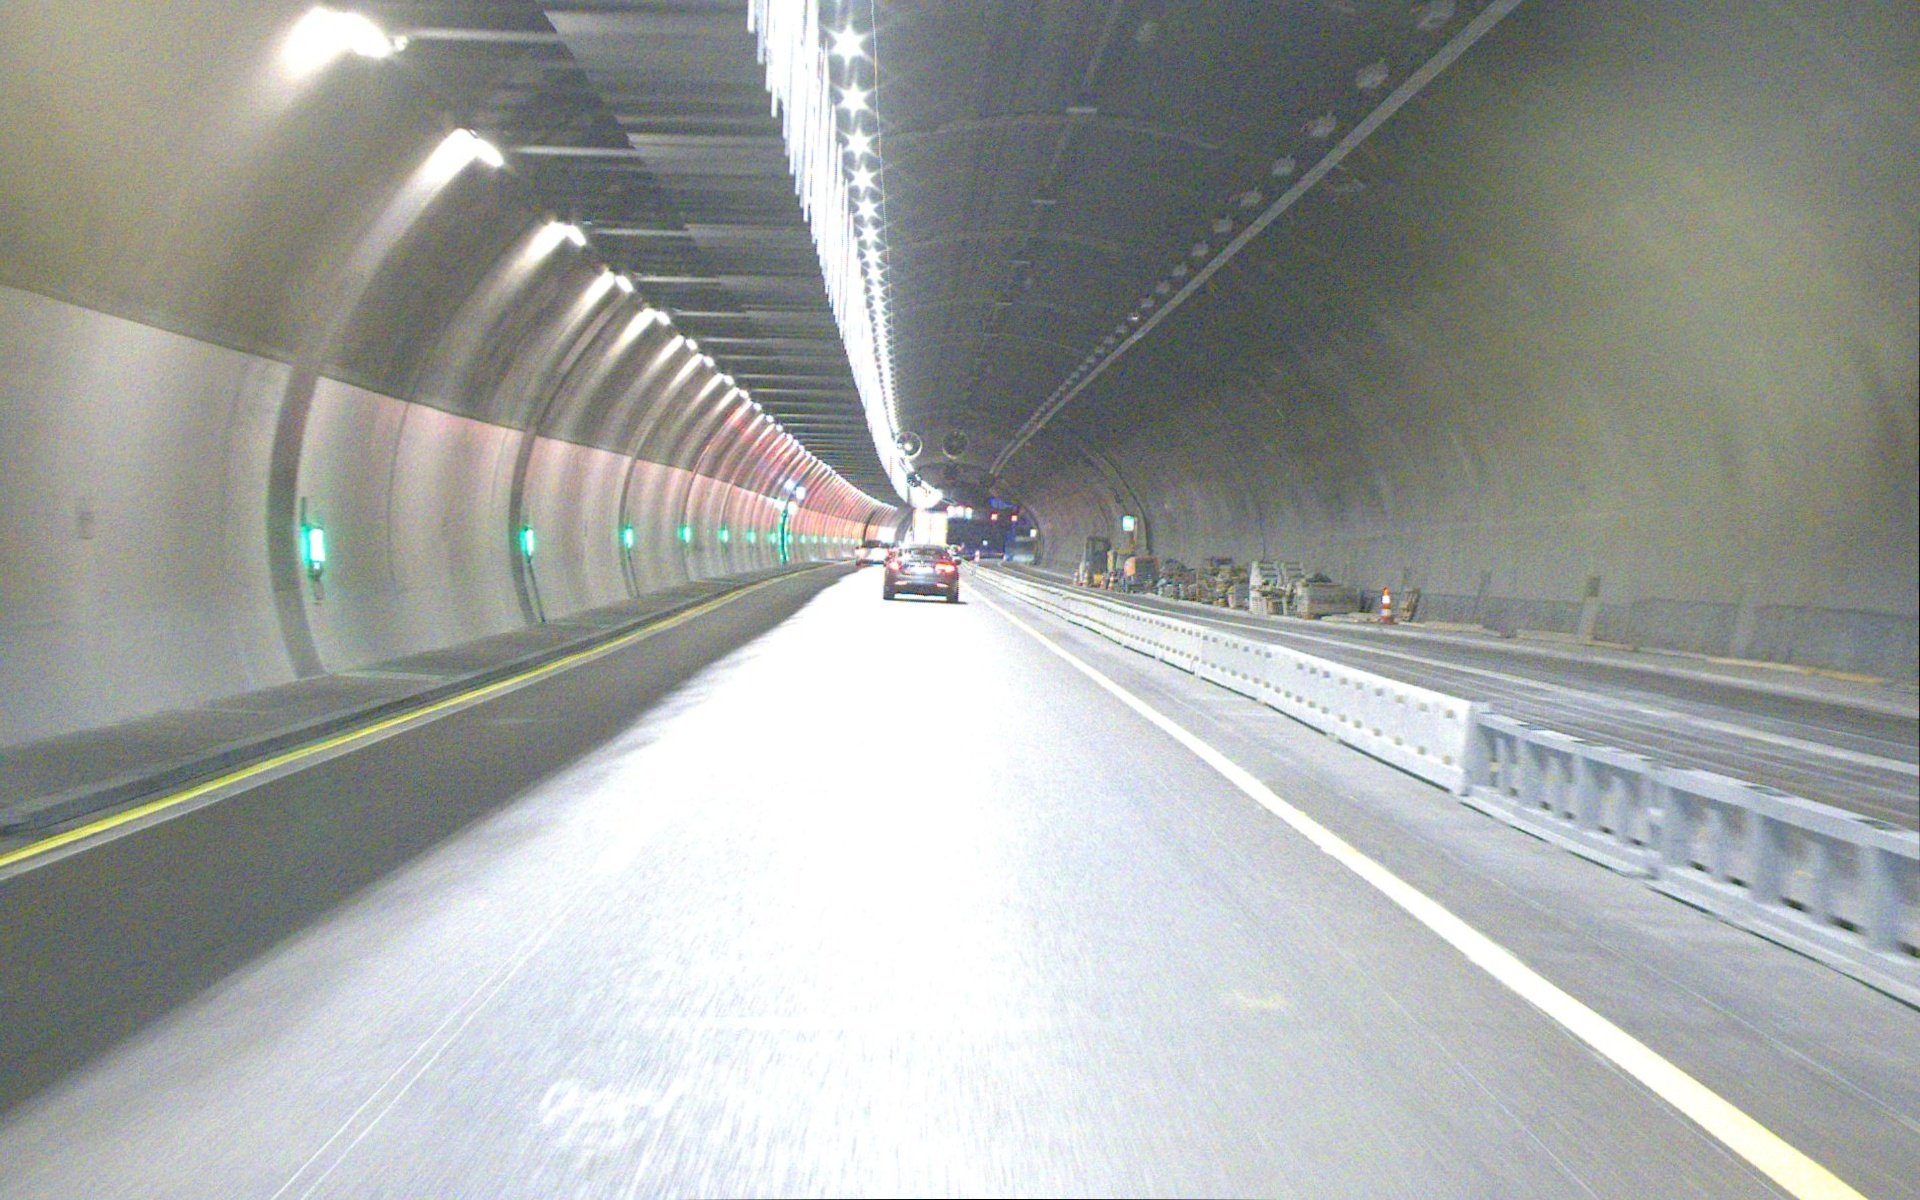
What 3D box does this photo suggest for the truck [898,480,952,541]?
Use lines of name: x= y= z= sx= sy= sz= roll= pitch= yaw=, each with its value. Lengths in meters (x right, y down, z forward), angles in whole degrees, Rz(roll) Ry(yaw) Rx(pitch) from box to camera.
truck: x=-2.730 y=-6.900 z=266.622 sx=4.066 sy=4.517 sz=14.966 roll=1 pitch=1 yaw=-1

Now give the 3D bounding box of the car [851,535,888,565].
car: x=-5.153 y=-2.846 z=196.118 sx=1.930 sy=1.681 sz=4.000 roll=0 pitch=1 yaw=0

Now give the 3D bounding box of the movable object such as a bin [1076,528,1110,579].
movable object such as a bin: x=5.757 y=-2.026 z=148.881 sx=1.234 sy=2.133 sz=2.217 roll=2 pitch=1 yaw=-1

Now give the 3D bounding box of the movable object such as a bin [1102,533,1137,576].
movable object such as a bin: x=6.572 y=-1.893 z=142.101 sx=1.234 sy=1.713 sz=2.217 roll=2 pitch=1 yaw=-1

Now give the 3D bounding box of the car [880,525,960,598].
car: x=-1.026 y=-0.981 z=86.303 sx=1.946 sy=1.788 sz=4.000 roll=0 pitch=1 yaw=-2

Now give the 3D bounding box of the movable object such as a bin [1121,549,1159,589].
movable object such as a bin: x=6.838 y=-1.184 z=130.775 sx=1.234 sy=1.437 sz=2.217 roll=2 pitch=1 yaw=-1
